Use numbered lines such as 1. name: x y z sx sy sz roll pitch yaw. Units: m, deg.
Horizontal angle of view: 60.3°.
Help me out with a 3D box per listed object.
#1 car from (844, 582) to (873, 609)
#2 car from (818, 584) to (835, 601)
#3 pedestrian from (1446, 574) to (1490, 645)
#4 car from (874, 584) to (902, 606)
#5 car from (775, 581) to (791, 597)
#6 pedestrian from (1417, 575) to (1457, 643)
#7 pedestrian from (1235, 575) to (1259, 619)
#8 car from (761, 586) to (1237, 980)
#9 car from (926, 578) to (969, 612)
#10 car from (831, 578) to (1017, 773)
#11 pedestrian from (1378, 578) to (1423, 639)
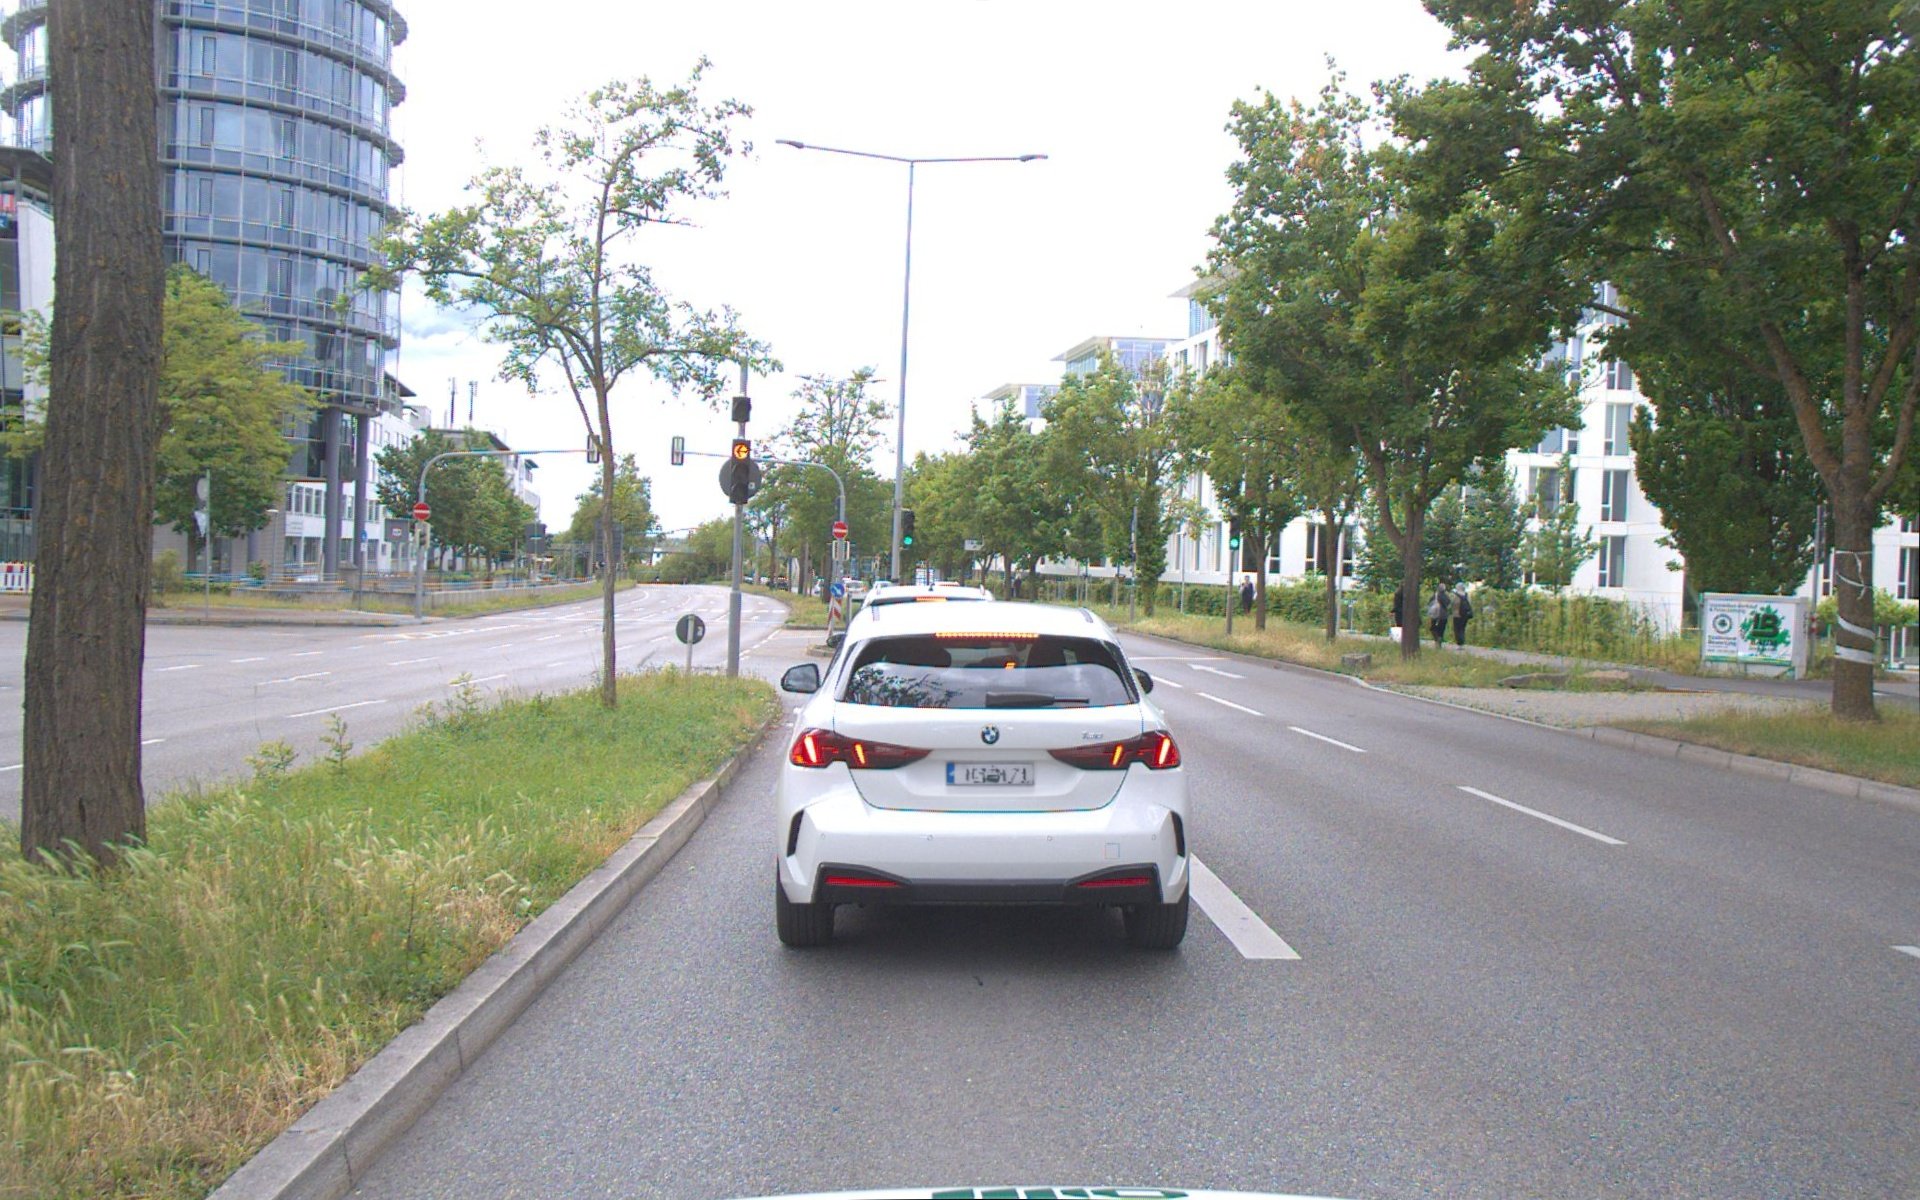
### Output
1. car: -6.891 -0.327 112.067 1.663 1.747 3.994 1 0 -7
2. car: -13.420 -0.773 166.205 1.705 1.695 3.997 1 0 -4
3. pedestrian: 12.491 0.233 40.689 0.751 1.715 0.883 1 -1 -2
4. car: -5.276 -0.388 120.444 1.661 1.512 3.687 1 0 -8
5. car: -19.794 -1.203 184.770 1.570 1.695 3.997 1 0 -4
6. pedestrian: 11.731 0.220 40.687 0.685 1.623 0.883 1 -1 -2
7. pedestrian: 10.380 -0.108 59.859 0.726 1.601 0.674 1 -1 -2
8. car: 0.124 0.692 8.329 1.785 1.463 3.999 1 0 -1
9. car: -0.666 -0.267 84.098 1.954 1.699 3.997 0 0 -4
10. car: -0.328 0.625 15.842 1.518 1.596 3.999 1 0 -1
11. pedestrian: 10.855 0.205 40.782 0.773 1.473 1.111 1 0 -2
